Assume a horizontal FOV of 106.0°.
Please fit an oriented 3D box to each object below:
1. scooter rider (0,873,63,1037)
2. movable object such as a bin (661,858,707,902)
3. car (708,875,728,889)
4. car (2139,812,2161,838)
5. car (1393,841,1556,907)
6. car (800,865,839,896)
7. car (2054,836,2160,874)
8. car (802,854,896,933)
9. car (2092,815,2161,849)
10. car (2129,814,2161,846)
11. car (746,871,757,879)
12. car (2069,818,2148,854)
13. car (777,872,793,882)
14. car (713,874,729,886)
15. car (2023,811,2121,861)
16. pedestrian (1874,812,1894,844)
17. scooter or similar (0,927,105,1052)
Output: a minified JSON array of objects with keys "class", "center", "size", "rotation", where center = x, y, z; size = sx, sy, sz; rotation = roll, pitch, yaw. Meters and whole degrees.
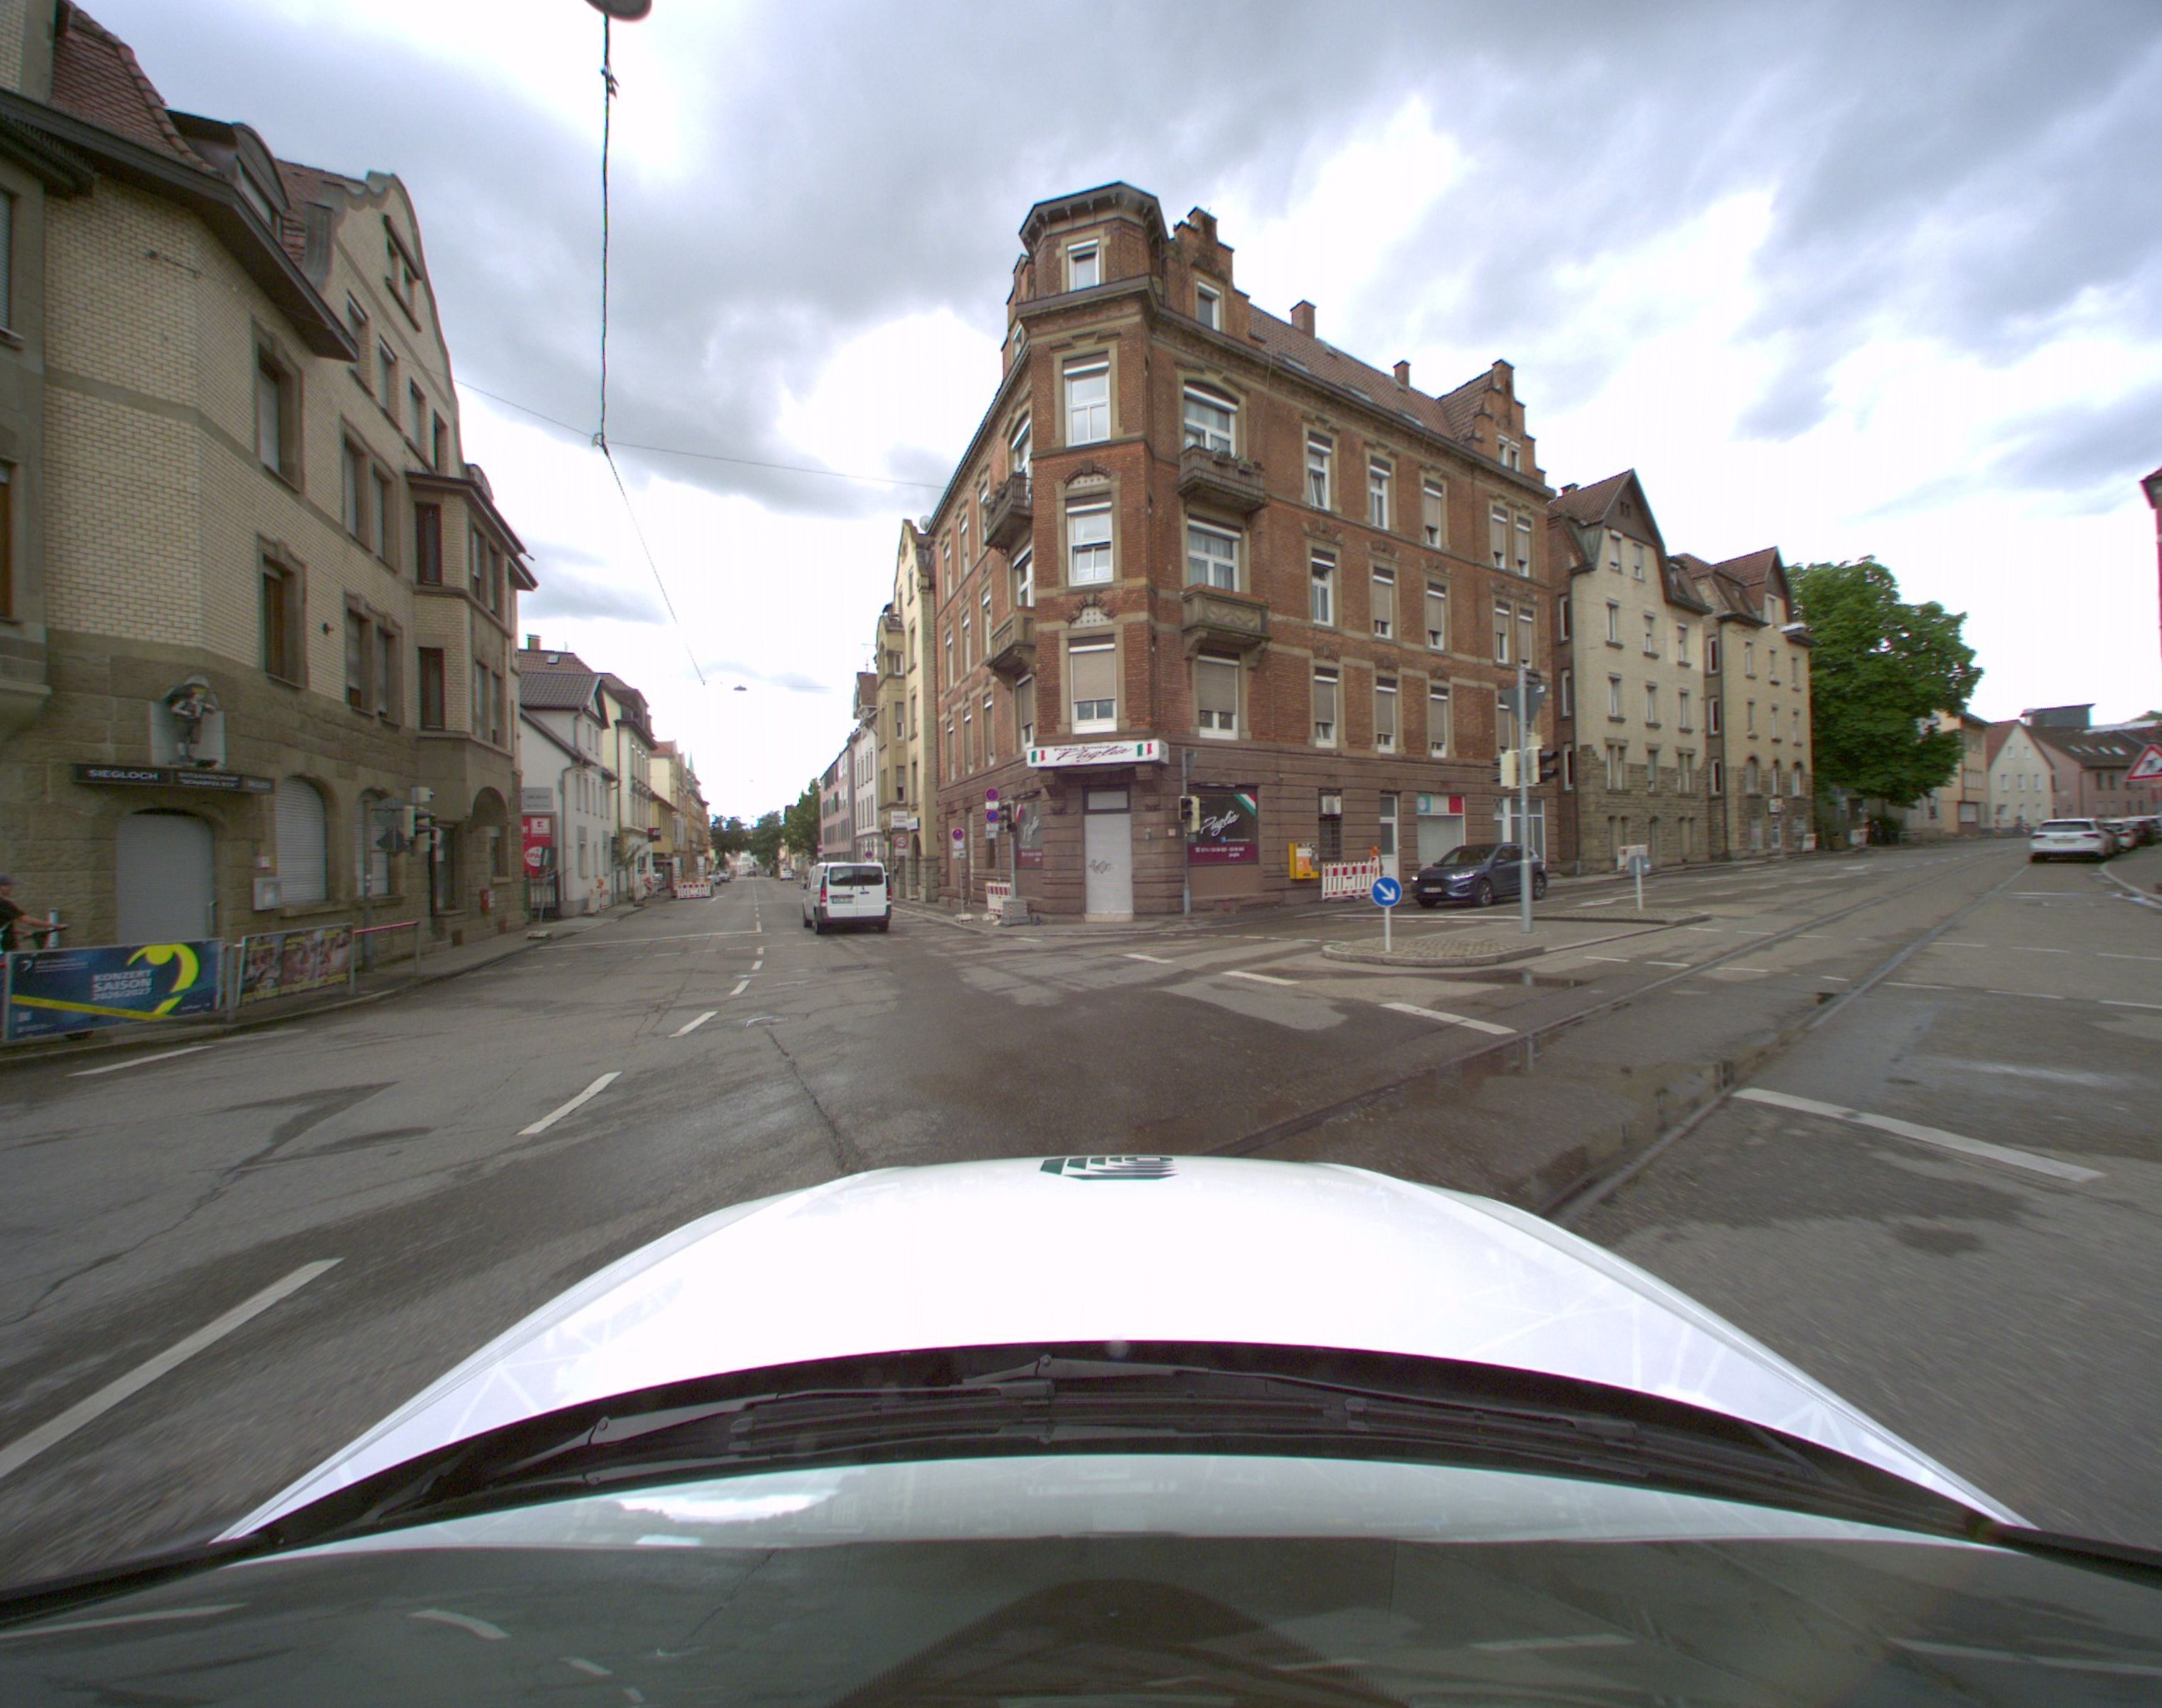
[{"class":"scooter rider","center":[-11.474,1.058,8.694],"size":[0.484,1.705,0.579],"rotation":[-1,-1,12]},{"class":"movable object such as a bin","center":[-27.822,1.799,57.213],"size":[2.549,2.825,4.503],"rotation":[-3,0,-23]},{"class":"car","center":[-42.255,3.266,94.872],"size":[2.002,1.442,3.969],"rotation":[-3,0,-23]},{"class":"car","center":[72.542,-1.968,54.518],"size":[3.967,1.644,1.892],"rotation":[-2,0,-35]},{"class":"car","center":[10.761,0.521,22.207],"size":[4.302,1.515,1.979],"rotation":[-2,-2,-33]},{"class":"car","center":[-17.865,1.749,55.506],"size":[2.137,2.005,4.888],"rotation":[0,-1,-23]},{"class":"car","center":[42.176,0.031,33.482],"size":[4.010,1.288,1.981],"rotation":[-2,-3,-29]},{"class":"car","center":[-6.598,1.086,22.780],"size":[1.900,1.929,4.608],"rotation":[-2,-2,-24]},{"class":"car","center":[56.149,-1.182,43.694],"size":[3.834,1.663,1.949],"rotation":[-2,1,-33]},{"class":"car","center":[65.162,-1.468,49.102],"size":[4.015,1.838,1.979],"rotation":[-2,-2,-33]},{"class":"car","center":[-75.549,4.883,186.791],"size":[1.999,1.618,3.975],"rotation":[-2,-1,-18]},{"class":"car","center":[46.667,-0.811,36.975],"size":[4.015,1.462,1.797],"rotation":[-1,-3,-33]},{"class":"car","center":[-43.937,3.410,120.740],"size":[2.002,1.486,3.969],"rotation":[2,-2,-23]},{"class":"car","center":[-51.944,3.748,117.389],"size":[2.003,1.741,3.968],"rotation":[2,-2,-24]},{"class":"car","center":[37.582,-0.677,30.866],"size":[4.016,1.718,1.934],"rotation":[-2,-2,-34]},{"class":"pedestrian","center":[52.738,-1.698,53.483],"size":[0.757,2.014,0.758],"rotation":[-1,-2,-36]},{"class":"scooter or similar","center":[-11.455,1.450,8.730],"size":[0.375,1.242,1.230],"rotation":[-2,-1,13]}]
